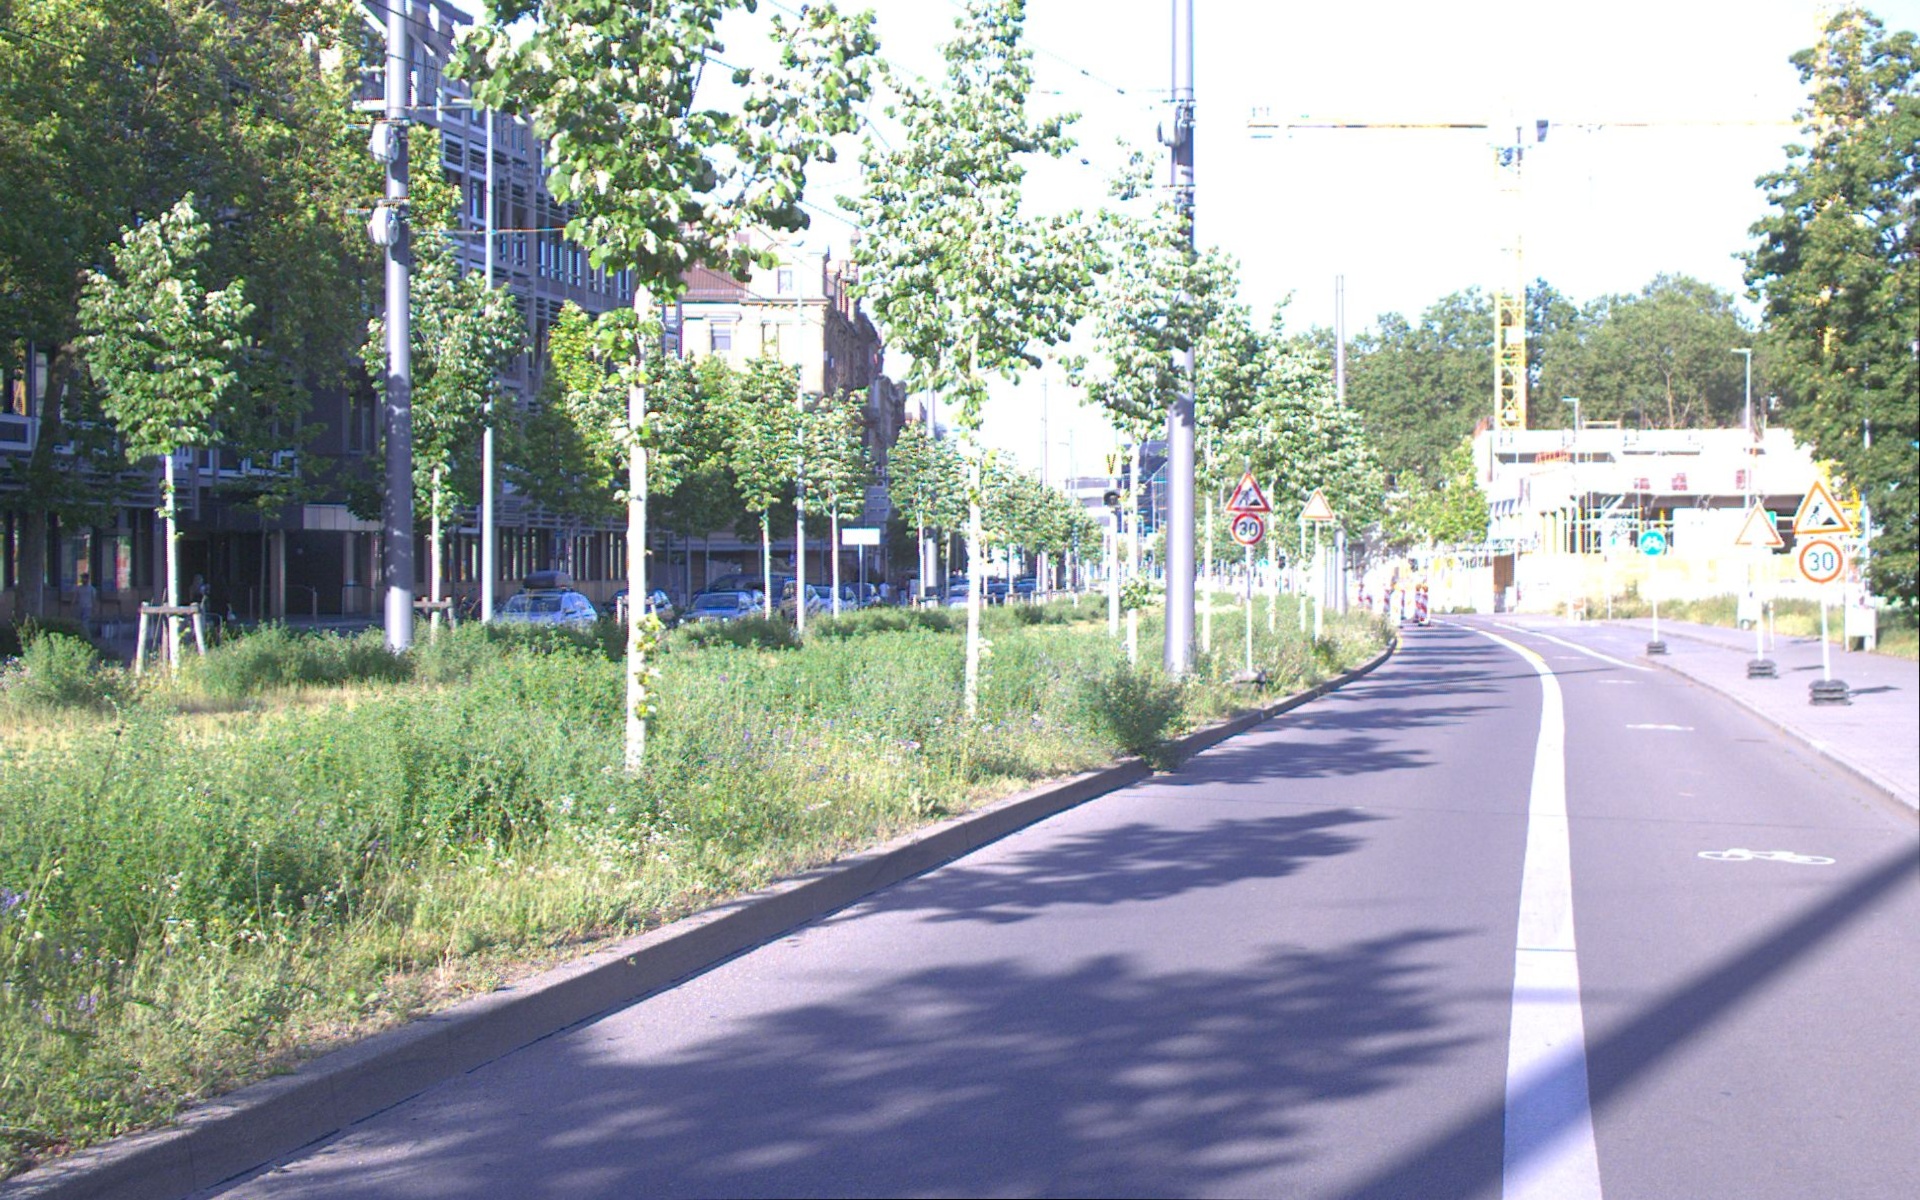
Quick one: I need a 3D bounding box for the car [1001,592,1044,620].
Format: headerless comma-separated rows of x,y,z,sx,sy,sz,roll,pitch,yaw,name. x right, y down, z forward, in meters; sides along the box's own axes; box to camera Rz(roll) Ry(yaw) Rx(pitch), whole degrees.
3.589,0.337,196.707,1.904,1.570,4.299,0,0,8,car

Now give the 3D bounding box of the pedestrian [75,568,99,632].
-21.281,-0.002,83.779,0.409,1.556,0.447,0,0,11,pedestrian

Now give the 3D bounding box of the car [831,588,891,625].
-4.325,0.282,150.263,1.904,1.570,4.299,0,0,8,car

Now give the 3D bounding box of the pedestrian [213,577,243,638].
-18.298,0.182,85.945,0.663,1.527,0.649,0,0,-4,pedestrian

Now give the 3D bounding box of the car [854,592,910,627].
-3.573,0.439,157.978,1.904,1.570,4.299,0,0,8,car

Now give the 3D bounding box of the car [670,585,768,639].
-6.978,0.344,99.877,1.759,1.510,4.581,0,0,10,car

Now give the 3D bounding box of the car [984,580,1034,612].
2.435,-0.205,168.546,1.904,1.570,4.409,0,0,8,car

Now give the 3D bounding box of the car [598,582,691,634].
-9.737,0.233,106.428,1.904,1.570,4.299,0,0,8,car

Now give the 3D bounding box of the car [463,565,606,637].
-9.665,0.002,78.474,1.841,1.589,4.691,-1,0,11,car

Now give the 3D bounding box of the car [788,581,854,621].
-5.513,0.014,136.755,1.904,1.570,4.299,0,0,8,car
